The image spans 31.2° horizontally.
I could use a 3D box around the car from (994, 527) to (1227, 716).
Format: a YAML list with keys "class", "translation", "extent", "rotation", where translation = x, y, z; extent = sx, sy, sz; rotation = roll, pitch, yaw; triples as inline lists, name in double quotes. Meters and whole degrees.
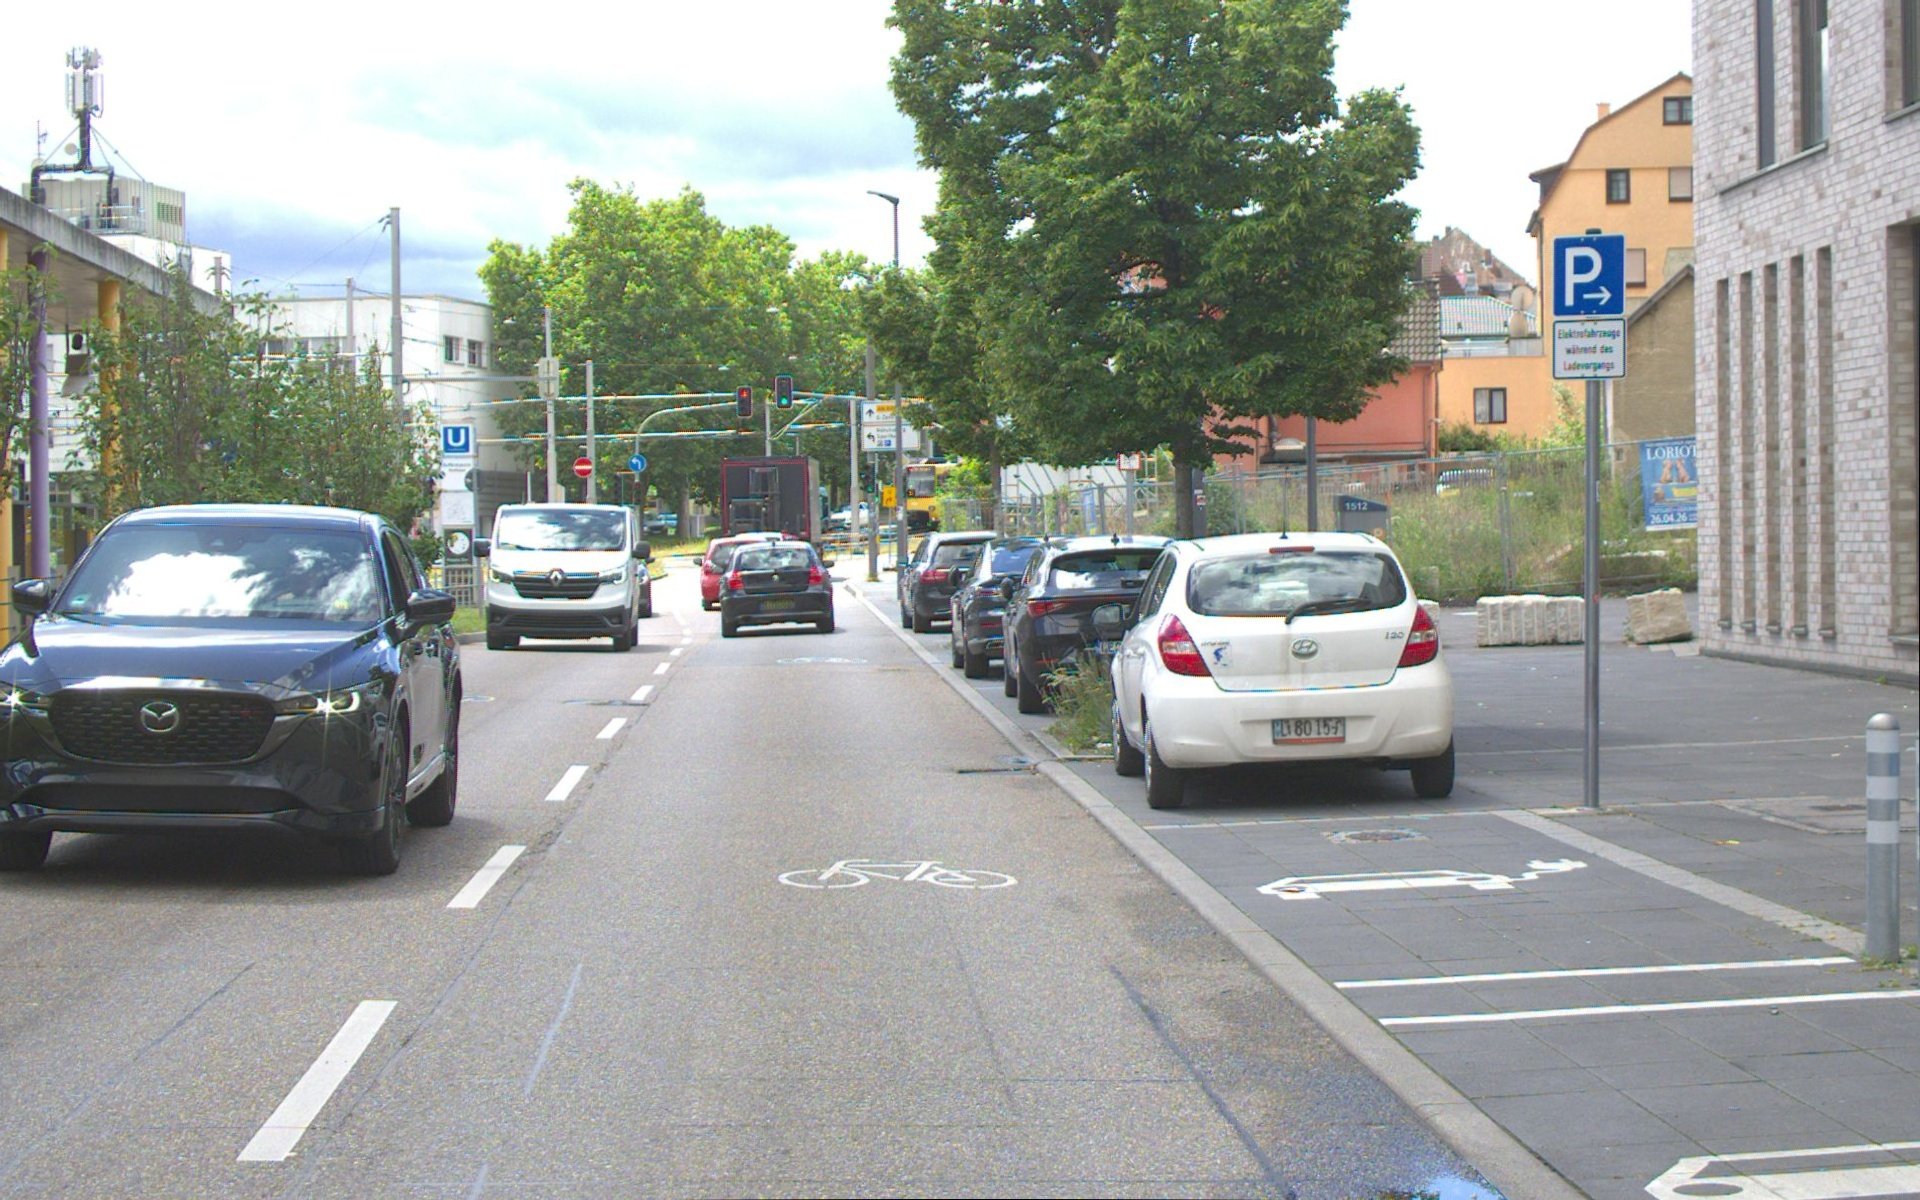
- class: "car"
  translation: [1.230, 0.126, 29.728]
  extent: [1.692, 1.456, 4.147]
  rotation: [-2, 1, -1]

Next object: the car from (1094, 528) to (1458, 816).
- class: "car"
  translation: [1.764, 0.346, 20.290]
  extent: [1.692, 1.478, 3.798]
  rotation: [-2, 1, -1]

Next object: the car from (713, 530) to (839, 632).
- class: "car"
  translation: [-2.871, -0.323, 53.151]
  extent: [1.726, 1.451, 3.809]
  rotation: [-2, 2, -6]

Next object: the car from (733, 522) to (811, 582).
- class: "car"
  translation: [-4.834, -1.237, 88.862]
  extent: [1.888, 1.460, 4.069]
  rotation: [-2, 1, -2]

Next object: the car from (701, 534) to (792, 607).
- class: "car"
  translation: [-4.408, -0.627, 70.690]
  extent: [1.711, 1.388, 3.809]
  rotation: [-2, 2, -5]

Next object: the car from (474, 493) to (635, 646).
- class: "car"
  translation: [-5.347, -0.426, 45.764]
  extent: [2.003, 1.910, 5.066]
  rotation: [0, 1, -6]

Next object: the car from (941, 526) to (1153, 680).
- class: "car"
  translation: [0.850, -0.016, 36.220]
  extent: [1.864, 1.446, 4.644]
  rotation: [-2, 1, -2]

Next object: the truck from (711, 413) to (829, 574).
- class: "truck"
  translation: [-5.624, -3.084, 103.020]
  extent: [3.203, 4.520, 9.029]
  rotation: [0, 0, -1]

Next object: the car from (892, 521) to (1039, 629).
- class: "car"
  translation: [0.035, -0.408, 50.871]
  extent: [1.781, 1.447, 4.477]
  rotation: [-2, 1, -4]

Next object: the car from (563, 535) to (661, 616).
- class: "car"
  translation: [-6.932, -0.509, 68.188]
  extent: [1.724, 1.516, 4.256]
  rotation: [1, 1, -8]

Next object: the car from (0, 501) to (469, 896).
- class: "car"
  translation: [-3.448, 0.364, 16.290]
  extent: [1.919, 1.599, 4.627]
  rotation: [0, 1, -4]
